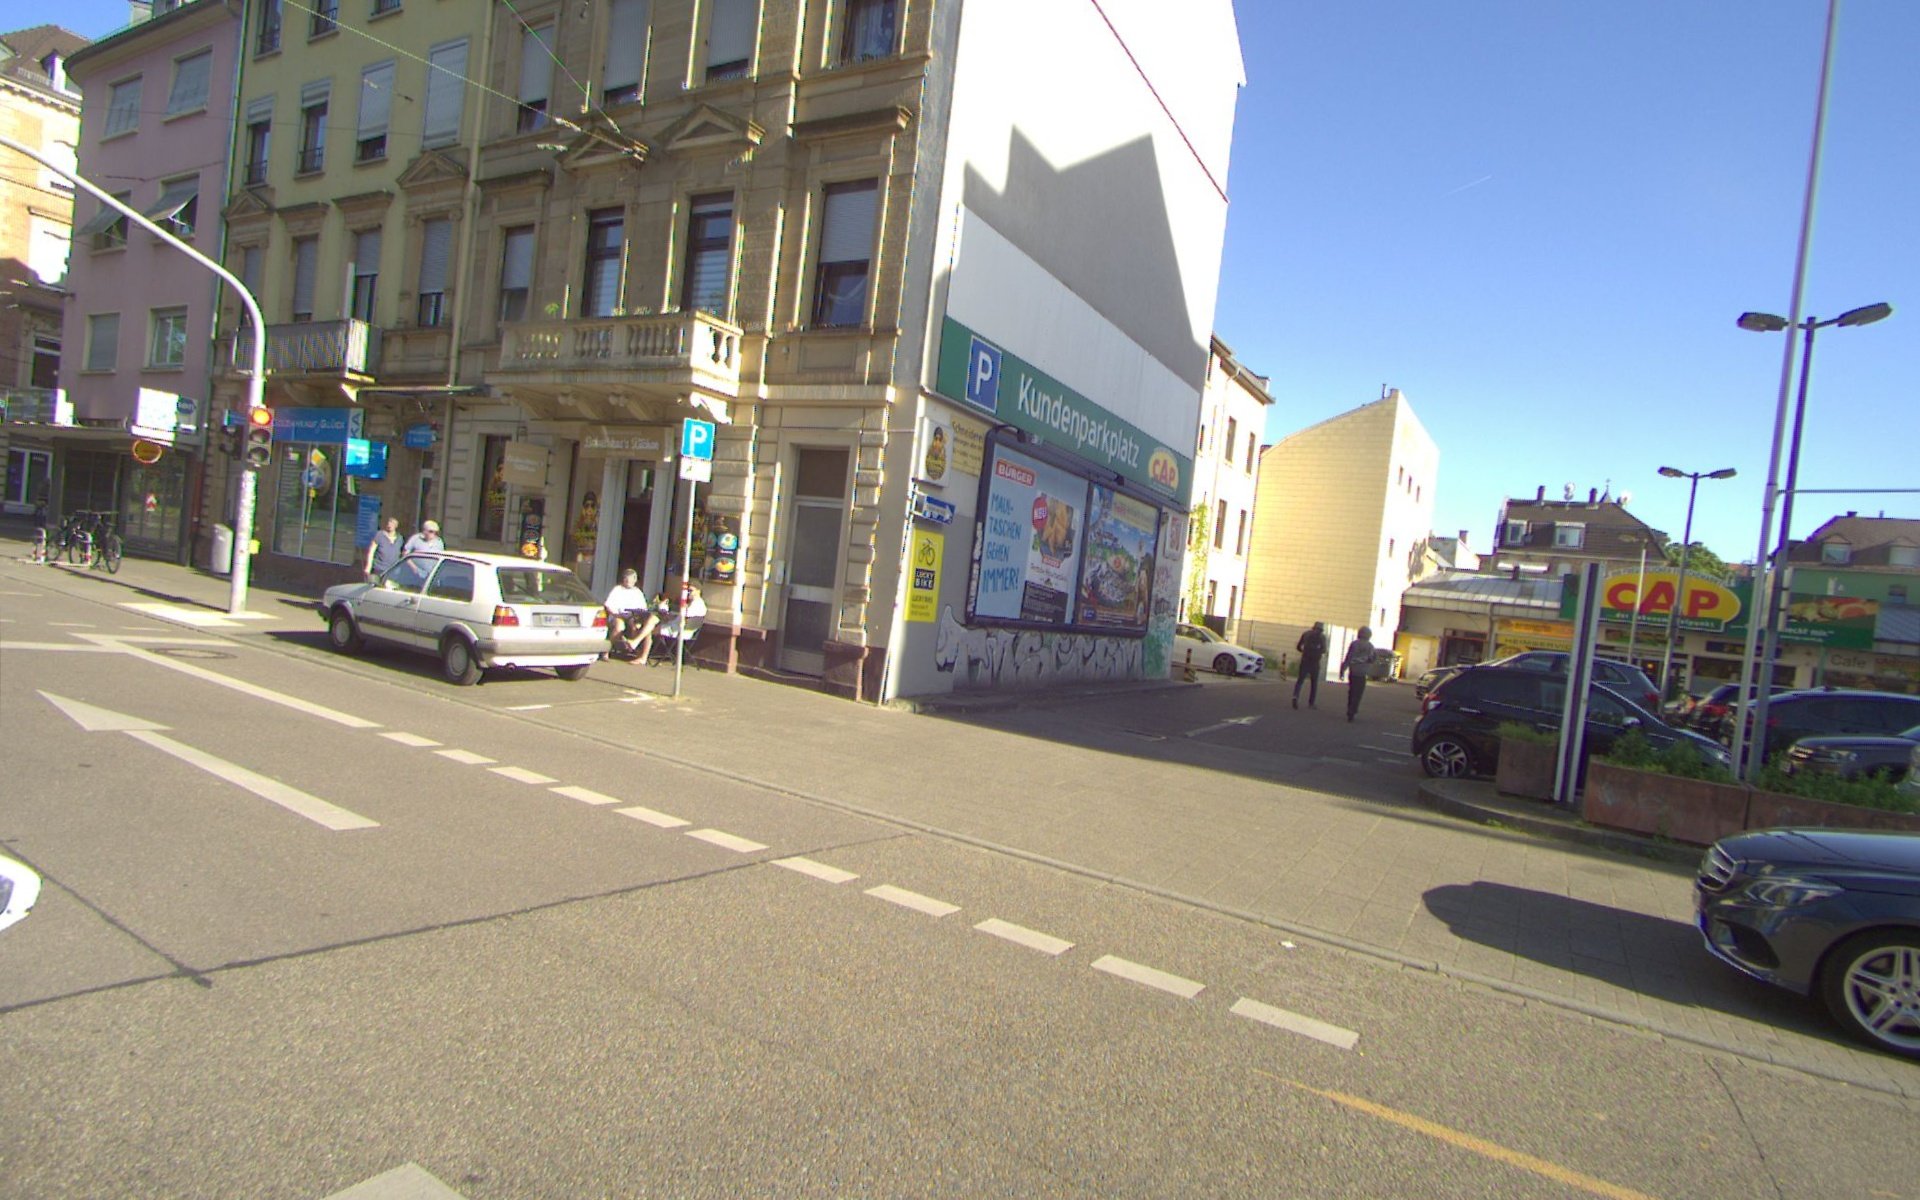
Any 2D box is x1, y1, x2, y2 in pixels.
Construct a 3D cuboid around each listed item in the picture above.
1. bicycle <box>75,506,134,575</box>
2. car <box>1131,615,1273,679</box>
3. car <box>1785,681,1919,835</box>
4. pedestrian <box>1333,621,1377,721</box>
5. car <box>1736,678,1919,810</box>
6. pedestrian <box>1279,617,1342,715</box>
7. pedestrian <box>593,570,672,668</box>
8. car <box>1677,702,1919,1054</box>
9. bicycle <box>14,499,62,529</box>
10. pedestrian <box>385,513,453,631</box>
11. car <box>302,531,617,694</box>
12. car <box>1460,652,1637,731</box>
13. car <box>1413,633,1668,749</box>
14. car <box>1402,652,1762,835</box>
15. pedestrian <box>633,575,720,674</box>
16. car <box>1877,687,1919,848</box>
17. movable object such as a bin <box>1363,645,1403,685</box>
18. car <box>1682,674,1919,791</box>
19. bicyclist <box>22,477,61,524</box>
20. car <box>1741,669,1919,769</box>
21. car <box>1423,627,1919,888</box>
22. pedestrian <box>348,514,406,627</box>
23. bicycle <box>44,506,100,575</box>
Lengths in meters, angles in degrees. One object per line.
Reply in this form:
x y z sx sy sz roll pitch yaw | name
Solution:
-16.706 -1.171 19.641 1.731 1.173 0.448 8 1 38 | bicycle
7.665 1.474 31.969 3.933 1.482 1.756 7 1 32 | car
12.973 2.141 12.373 3.931 1.714 1.747 7 0 29 | car
7.345 1.312 18.701 0.504 1.778 0.761 7 1 26 | pedestrian
13.906 2.201 14.575 3.871 1.564 1.544 7 1 30 | car
7.069 1.335 20.293 0.738 1.865 0.758 8 2 44 | pedestrian
-4.674 0.262 14.377 0.598 1.299 0.797 7 4 29 | pedestrian
6.526 1.675 4.928 4.656 1.507 1.832 7 3 32 | car
-32.422 -3.009 35.383 0.644 0.914 1.333 7 0 -16 | bicycle
-8.809 -0.450 16.394 0.522 1.830 0.673 8 2 31 | pedestrian
-6.155 0.070 12.247 3.937 1.435 1.562 7 4 32 | car
16.110 2.463 27.698 3.933 1.538 1.723 7 1 31 | car
12.017 1.829 21.055 4.309 1.687 1.756 7 1 32 | car
7.280 1.611 12.124 3.336 1.504 1.561 7 1 28 | car
-4.006 0.339 14.234 0.644 1.299 0.902 7 3 27 | pedestrian
11.976 1.988 9.862 3.930 1.665 1.748 7 0 28 | car
18.093 2.779 42.980 1.258 1.527 1.174 7 1 31 | movable object such as a bin
15.872 2.415 18.557 3.872 1.564 1.543 7 1 31 | car
-32.352 -3.490 35.450 0.540 1.521 0.957 6 1 -17 | bicyclist
18.592 2.470 20.490 3.872 1.601 1.658 7 1 31 | car
6.686 1.353 9.651 3.835 1.665 1.653 7 1 28 | car
-9.263 -0.459 15.983 0.382 1.730 0.550 8 2 34 | pedestrian
-16.976 -1.147 19.218 1.782 1.155 0.414 7 1 38 | bicycle
